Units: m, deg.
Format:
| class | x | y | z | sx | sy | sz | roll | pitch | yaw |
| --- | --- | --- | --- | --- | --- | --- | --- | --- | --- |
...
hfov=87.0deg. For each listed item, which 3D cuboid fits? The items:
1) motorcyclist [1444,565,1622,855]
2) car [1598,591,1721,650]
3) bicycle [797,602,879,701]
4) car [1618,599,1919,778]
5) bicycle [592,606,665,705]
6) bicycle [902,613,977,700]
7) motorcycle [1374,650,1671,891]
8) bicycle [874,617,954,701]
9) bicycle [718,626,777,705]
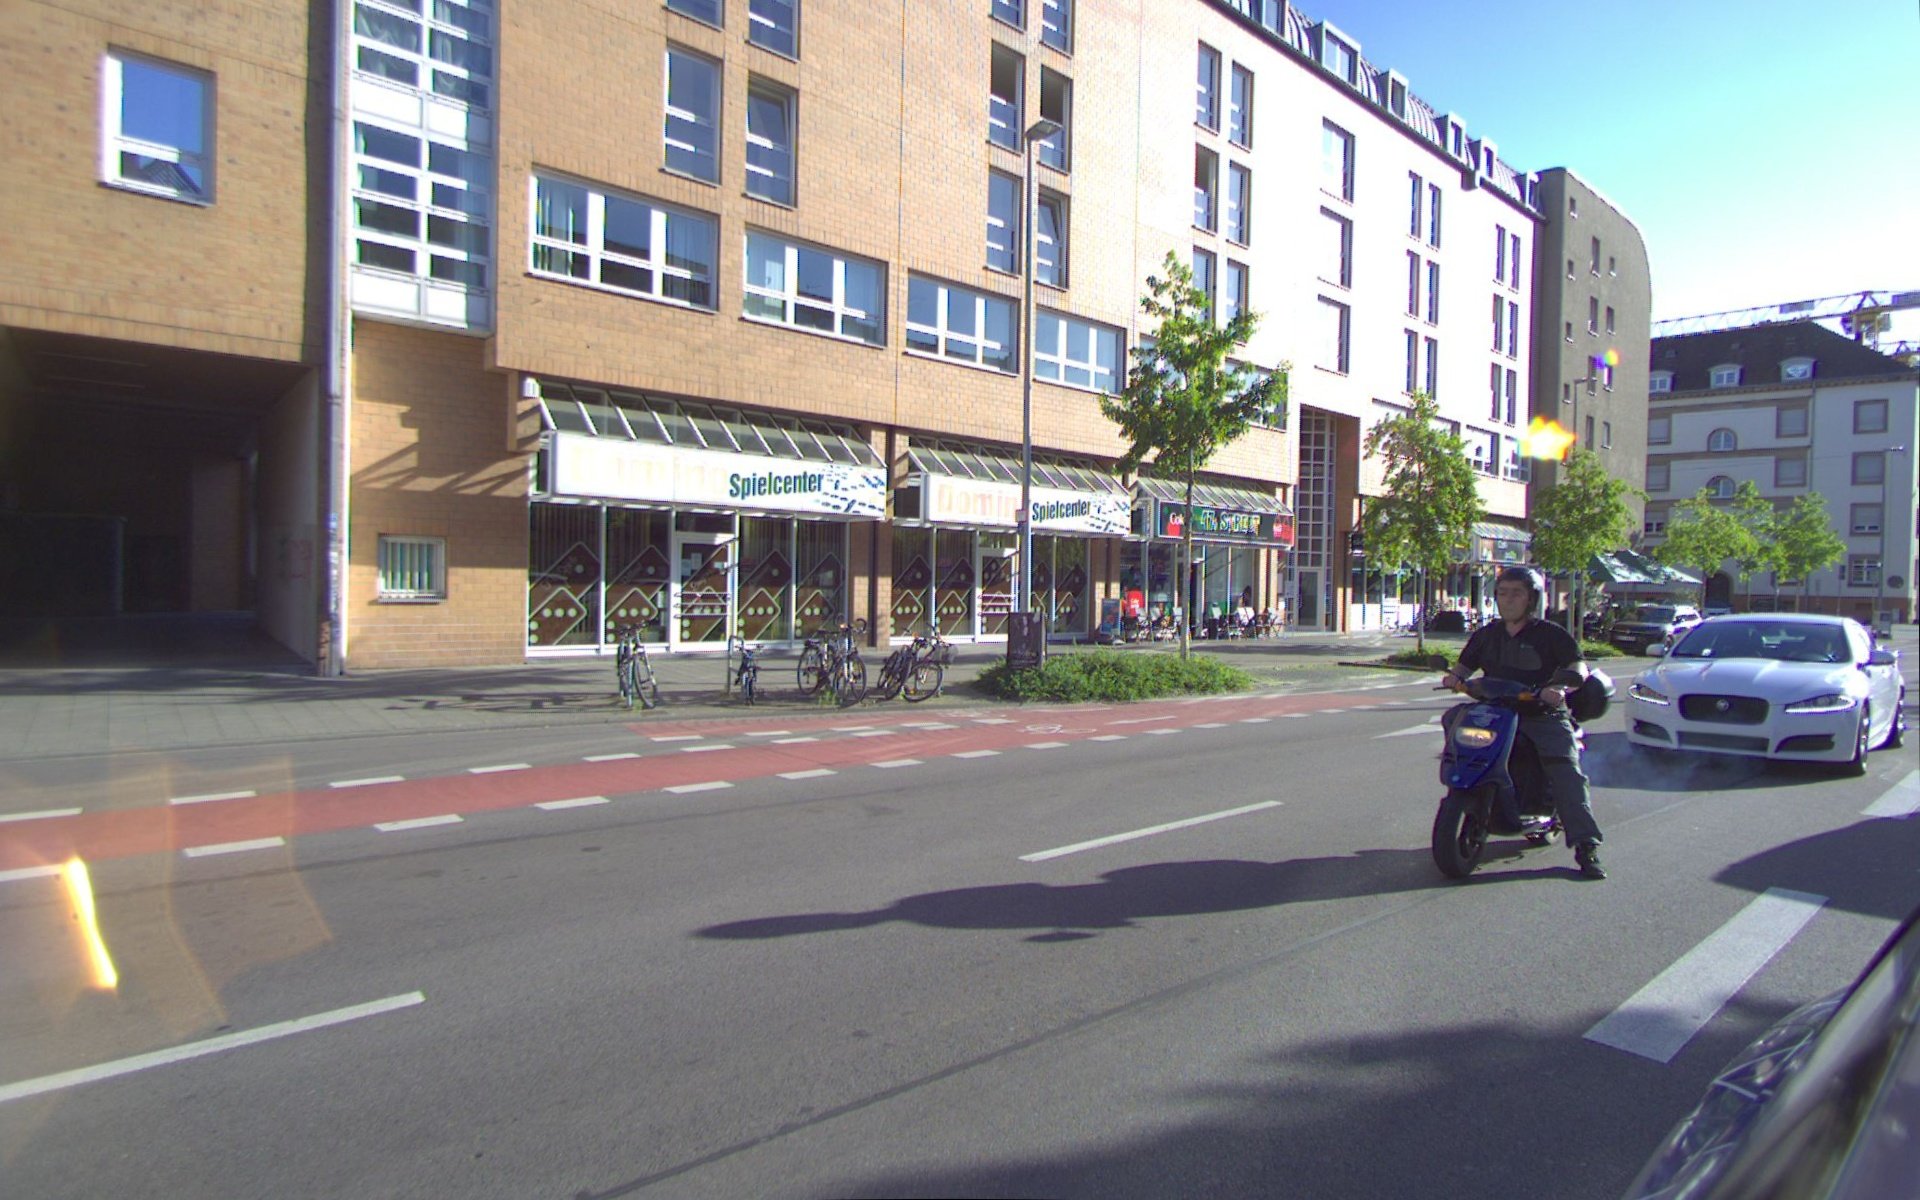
| class | x | y | z | sx | sy | sz | roll | pitch | yaw |
| --- | --- | --- | --- | --- | --- | --- | --- | --- | --- |
| motorcyclist | 3.413 | 0.601 | 6.052 | 0.520 | 1.600 | 0.797 | 0 | 0 | -41 |
| car | 22.353 | 0.629 | 32.307 | 3.921 | 1.659 | 1.782 | 1 | 3 | -32 |
| bicycle | -1.742 | 0.672 | 14.169 | 0.553 | 1.177 | 1.843 | 0 | 3 | -26 |
| car | 8.596 | 0.739 | 10.577 | 4.376 | 1.448 | 1.806 | 0 | 1 | -42 |
| bicycle | -4.363 | 0.683 | 13.249 | 0.423 | 1.089 | 1.776 | 0 | 4 | -35 |
| bicycle | -0.326 | 0.795 | 14.849 | 0.343 | 1.069 | 1.843 | 0 | 3 | -26 |
| motorcycle | 3.460 | 0.900 | 6.110 | 2.334 | 1.064 | 0.805 | -1 | 0 | -41 |
| bicycle | -0.691 | 0.810 | 14.651 | 0.440 | 0.997 | 1.843 | 0 | 3 | -26 |
| bicycle | -2.895 | 0.853 | 13.687 | 0.359 | 0.842 | 1.779 | 0 | 3 | -26 |
